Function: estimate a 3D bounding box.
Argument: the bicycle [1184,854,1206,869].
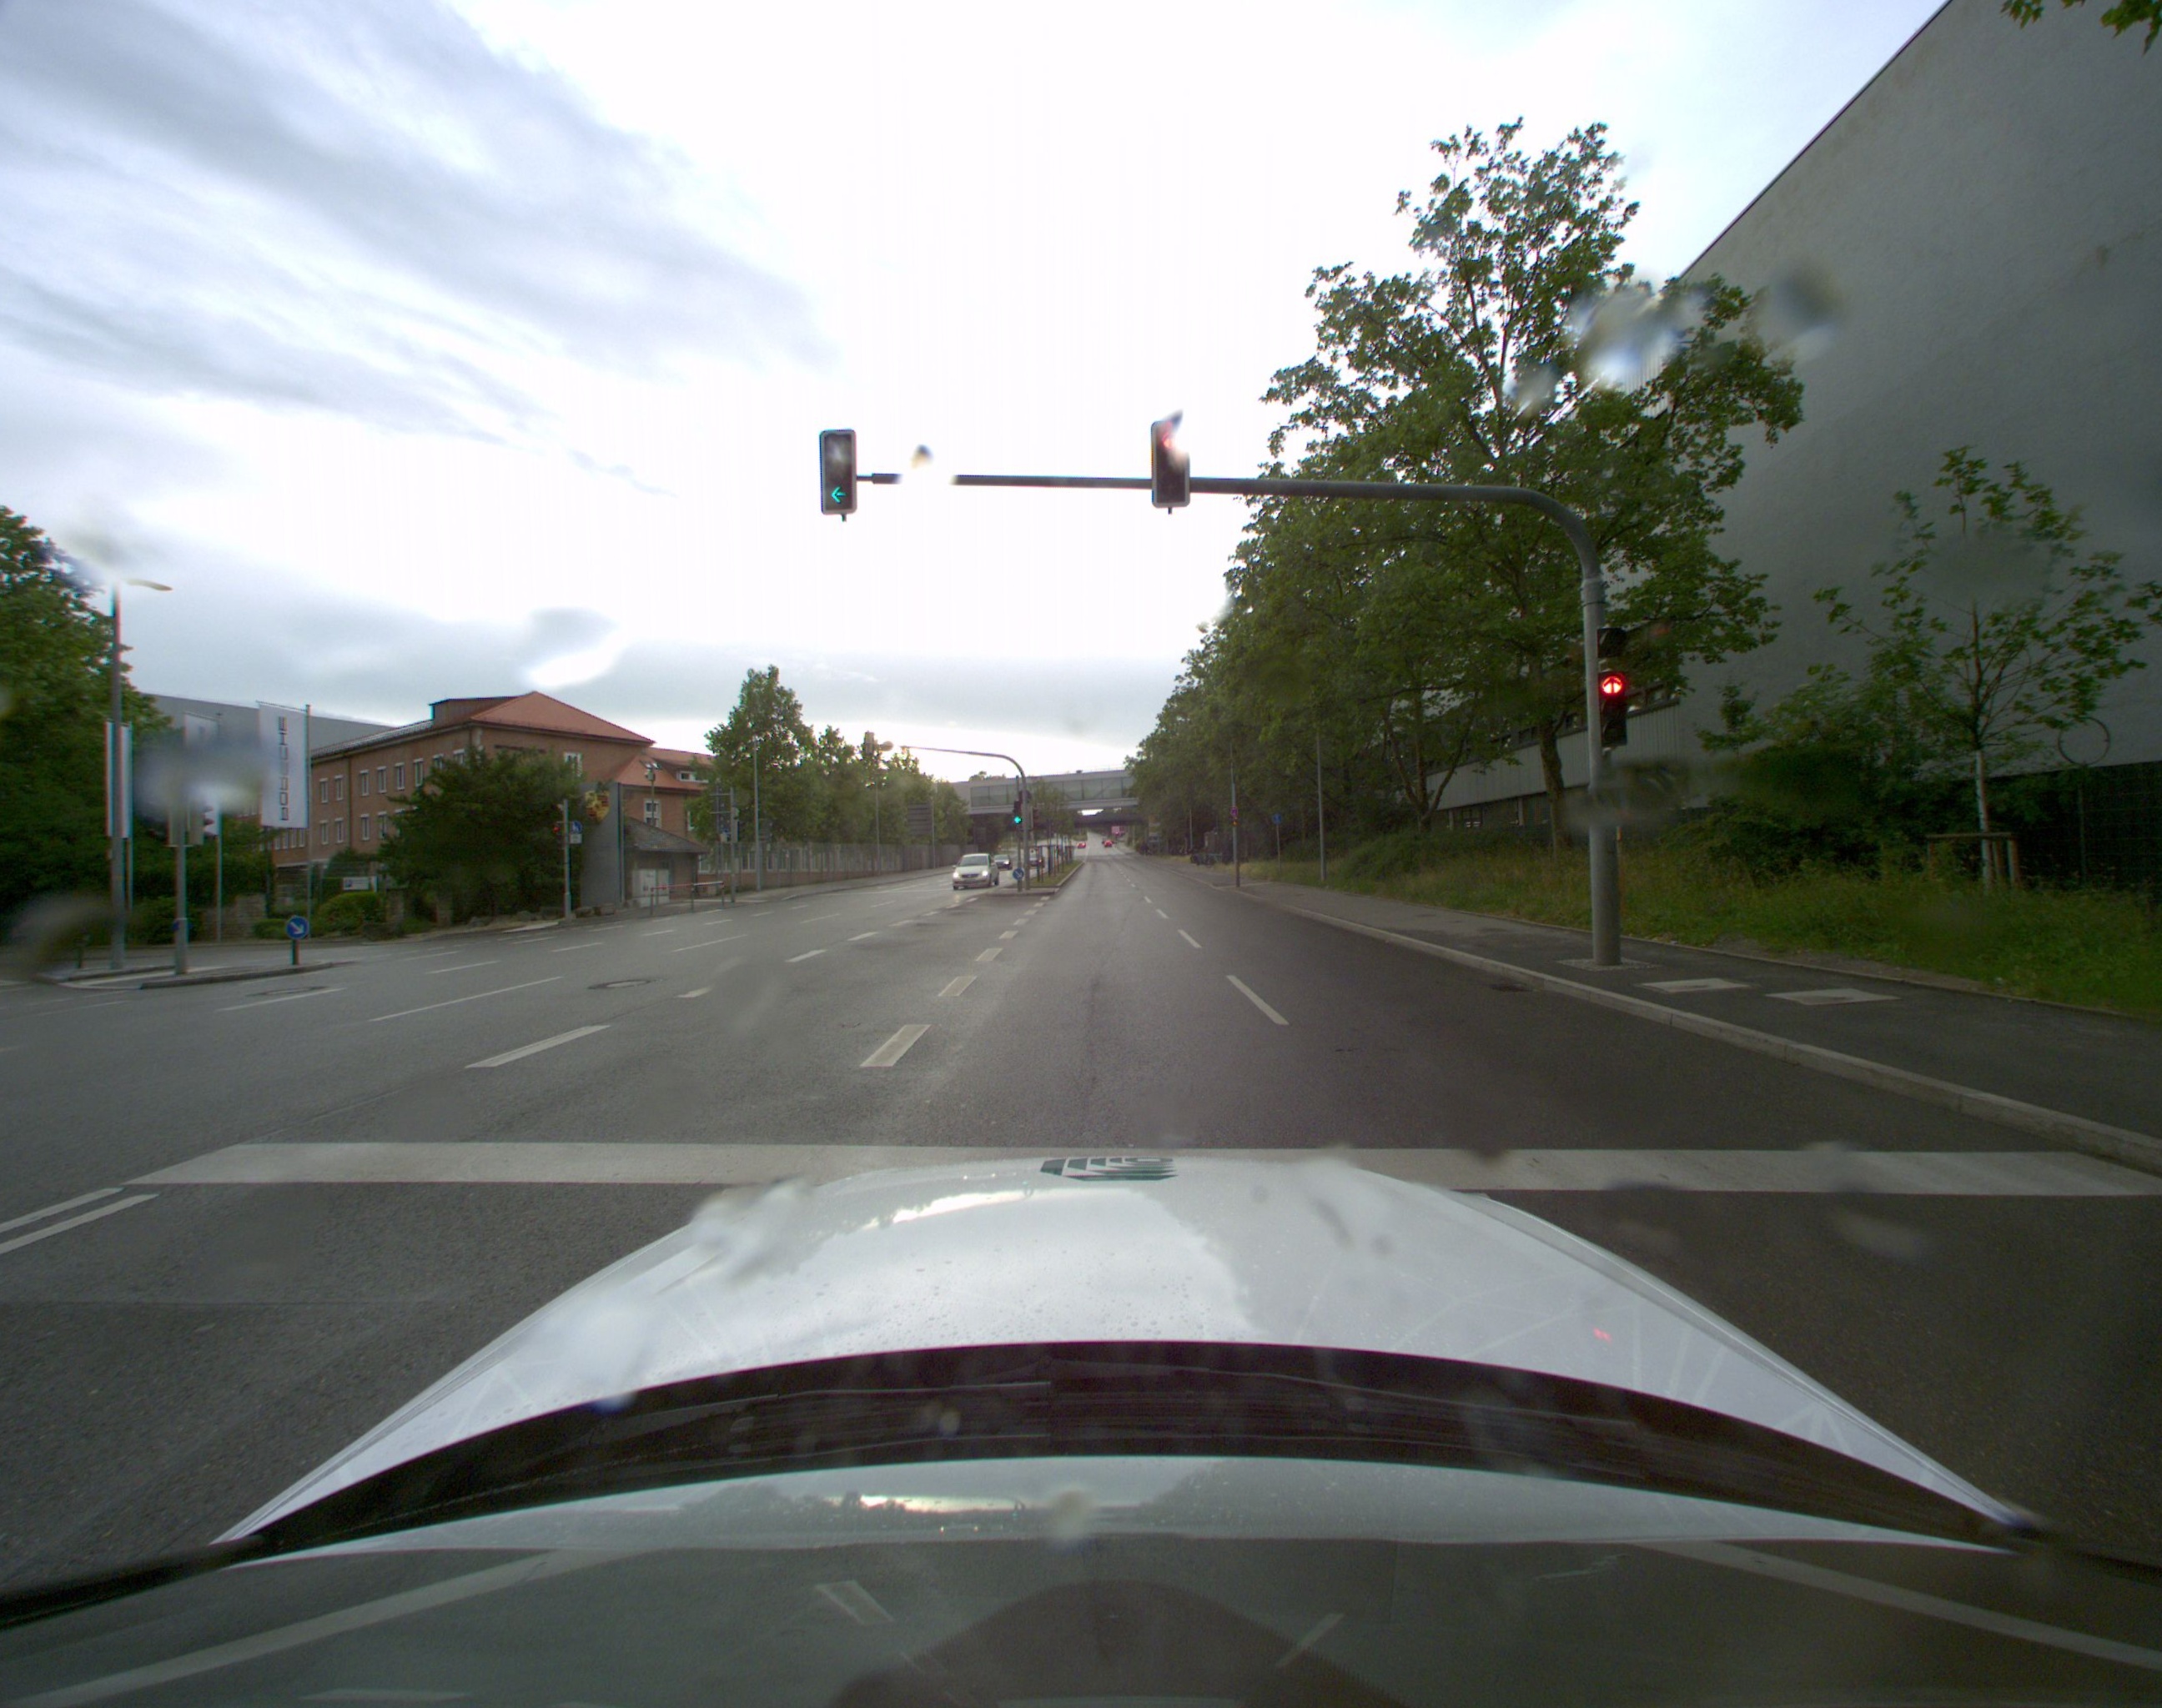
[{"bbox_3d":[10.619,0.682,75.796,1.955,1.328,0.654,0,-1,2],"label":"bicycle"}]

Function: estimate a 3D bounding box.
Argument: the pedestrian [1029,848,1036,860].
[{"bbox_3d":[-7.986,-0.034,133.699,0.868,2.004,0.856,-3,0,4],"label":"pedestrian"}]

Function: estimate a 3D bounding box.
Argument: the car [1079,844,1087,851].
[{"bbox_3d":[0.539,-1.766,212.142,1.877,1.762,3.970,0,-1,2],"label":"car"}]

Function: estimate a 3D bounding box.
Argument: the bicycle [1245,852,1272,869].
[{"bbox_3d":[13.781,0.513,63.093,1.982,1.328,0.576,0,-1,2],"label":"bicycle"}]

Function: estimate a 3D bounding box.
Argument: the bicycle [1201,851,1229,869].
[{"bbox_3d":[9.645,0.443,58.698,1.982,1.242,0.541,0,-1,2],"label":"bicycle"}]

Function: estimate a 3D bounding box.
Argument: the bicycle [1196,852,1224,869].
[{"bbox_3d":[9.616,0.476,60.781,1.982,1.242,0.541,0,-1,2],"label":"bicycle"}]

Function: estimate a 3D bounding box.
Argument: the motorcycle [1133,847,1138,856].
[{"bbox_3d":[9.674,-0.500,144.613,0.787,1.533,2.376,-3,0,0],"label":"motorcycle"}]

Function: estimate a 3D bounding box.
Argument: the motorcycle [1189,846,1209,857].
[{"bbox_3d":[14.459,-0.318,100.060,2.354,1.202,0.724,-3,0,9],"label":"motorcycle"}]

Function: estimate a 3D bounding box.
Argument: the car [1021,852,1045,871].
[{"bbox_3d":[-4.410,0.634,75.167,1.870,1.624,3.780,-2,0,2],"label":"car"}]

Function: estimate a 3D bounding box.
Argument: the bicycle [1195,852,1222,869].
[{"bbox_3d":[9.643,0.491,61.730,1.982,1.242,0.541,0,-1,2],"label":"bicycle"}]

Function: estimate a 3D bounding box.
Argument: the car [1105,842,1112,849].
[{"bbox_3d":[6.909,-2.152,203.106,1.868,1.497,4.070,0,-1,2],"label":"car"}]

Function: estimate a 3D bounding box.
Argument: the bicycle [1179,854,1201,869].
[{"bbox_3d":[9.925,0.653,74.309,1.955,1.328,0.654,0,-1,2],"label":"bicycle"}]

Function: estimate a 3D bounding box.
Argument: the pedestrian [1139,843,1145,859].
[{"bbox_3d":[8.147,-0.414,108.785,0.619,2.013,0.606,-3,0,2],"label":"pedestrian"}]

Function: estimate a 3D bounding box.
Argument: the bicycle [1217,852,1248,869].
[{"bbox_3d":[10.104,0.450,54.347,1.982,1.095,0.541,0,-1,2],"label":"bicycle"}]

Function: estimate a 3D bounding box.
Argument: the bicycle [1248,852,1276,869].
[{"bbox_3d":[13.723,0.491,61.781,1.982,1.328,0.576,0,-1,2],"label":"bicycle"}]

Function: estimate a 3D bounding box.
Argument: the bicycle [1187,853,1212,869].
[{"bbox_3d":[9.949,0.557,68.347,1.982,1.328,0.576,0,-1,2],"label":"bicycle"}]

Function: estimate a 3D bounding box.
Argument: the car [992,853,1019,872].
[{"bbox_3d":[-6.895,0.744,74.611,1.870,1.624,3.780,-2,0,2],"label":"car"}]

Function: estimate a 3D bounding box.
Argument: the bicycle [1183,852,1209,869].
[{"bbox_3d":[9.296,0.524,65.830,1.982,1.328,0.576,0,-1,2],"label":"bicycle"}]

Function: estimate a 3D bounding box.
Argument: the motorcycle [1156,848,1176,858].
[{"bbox_3d":[10.604,-0.131,101.493,2.354,1.202,0.724,-3,0,9],"label":"motorcycle"}]

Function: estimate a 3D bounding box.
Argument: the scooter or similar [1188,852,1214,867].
[{"bbox_3d":[9.375,0.452,63.868,1.982,1.138,0.541,0,-1,2],"label":"scooter or similar"}]

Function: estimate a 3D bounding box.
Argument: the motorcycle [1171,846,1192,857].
[{"bbox_3d":[11.975,-0.276,96.719,2.354,1.202,0.724,-3,0,9],"label":"motorcycle"}]

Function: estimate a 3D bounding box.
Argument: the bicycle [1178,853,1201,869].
[{"bbox_3d":[9.695,0.624,72.595,1.955,1.328,0.654,0,-1,2],"label":"bicycle"}]

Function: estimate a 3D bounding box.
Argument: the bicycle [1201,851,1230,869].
[{"bbox_3d":[9.607,0.436,58.010,1.982,1.233,0.541,0,-1,2],"label":"bicycle"}]

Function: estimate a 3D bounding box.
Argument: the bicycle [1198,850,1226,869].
[{"bbox_3d":[9.689,0.399,60.088,1.982,1.340,0.541,0,-1,2],"label":"bicycle"}]

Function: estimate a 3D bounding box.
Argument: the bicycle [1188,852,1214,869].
[{"bbox_3d":[9.592,0.513,65.013,1.982,1.328,0.576,0,-1,2],"label":"bicycle"}]

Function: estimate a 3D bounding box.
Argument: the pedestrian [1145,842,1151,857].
[{"bbox_3d":[8.934,-0.578,108.644,0.619,2.013,0.606,-3,0,2],"label":"pedestrian"}]

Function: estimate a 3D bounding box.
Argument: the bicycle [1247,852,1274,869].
[{"bbox_3d":[13.746,0.502,62.446,1.982,1.328,0.576,0,-1,2],"label":"bicycle"}]

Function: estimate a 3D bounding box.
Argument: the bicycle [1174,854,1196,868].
[{"bbox_3d":[9.395,0.636,73.517,1.955,1.328,0.654,0,-1,2],"label":"bicycle"}]

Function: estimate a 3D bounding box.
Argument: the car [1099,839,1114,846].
[{"bbox_3d":[7.428,-3.322,236.498,4.495,1.762,1.905,0,-1,0],"label":"car"}]

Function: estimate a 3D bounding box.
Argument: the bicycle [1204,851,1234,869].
[{"bbox_3d":[9.471,0.408,55.823,1.982,1.216,0.541,0,-1,2],"label":"bicycle"}]

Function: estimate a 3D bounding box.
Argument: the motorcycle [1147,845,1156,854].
[{"bbox_3d":[10.486,-0.672,121.707,0.789,1.311,2.371,-3,0,-7],"label":"motorcycle"}]

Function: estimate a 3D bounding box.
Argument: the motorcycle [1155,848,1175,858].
[{"bbox_3d":[10.311,-0.129,99.726,2.354,1.202,0.724,-3,0,9],"label":"motorcycle"}]

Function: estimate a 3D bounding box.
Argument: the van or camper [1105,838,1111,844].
[{"bbox_3d":[8.652,-4.247,263.108,1.792,1.813,3.764,0,1,-2],"label":"van or camper"}]

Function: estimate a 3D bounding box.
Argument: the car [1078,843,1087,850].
[{"bbox_3d":[0.392,-1.852,206.985,1.986,1.762,4.002,0,-1,2],"label":"car"}]

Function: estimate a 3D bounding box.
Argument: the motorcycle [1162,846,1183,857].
[{"bbox_3d":[10.723,-0.270,95.272,2.354,1.202,0.724,-3,0,9],"label":"motorcycle"}]

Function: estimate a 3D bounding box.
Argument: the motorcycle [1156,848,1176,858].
[{"bbox_3d":[10.454,-0.106,100.581,2.354,1.202,0.724,-3,0,9],"label":"motorcycle"}]

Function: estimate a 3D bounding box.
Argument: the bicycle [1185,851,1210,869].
[{"bbox_3d":[9.620,0.490,67.501,1.982,1.430,0.723,0,-1,2],"label":"bicycle"}]

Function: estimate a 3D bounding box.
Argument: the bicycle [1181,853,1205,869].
[{"bbox_3d":[9.762,0.598,70.991,1.955,1.328,0.654,0,-1,2],"label":"bicycle"}]

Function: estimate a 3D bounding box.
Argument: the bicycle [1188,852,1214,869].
[{"bbox_3d":[9.291,0.511,63.113,1.982,1.242,0.541,0,-1,2],"label":"bicycle"}]

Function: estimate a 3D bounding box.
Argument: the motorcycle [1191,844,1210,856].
[{"bbox_3d":[15.712,-0.484,106.878,2.354,1.476,0.724,-3,0,9],"label":"motorcycle"}]

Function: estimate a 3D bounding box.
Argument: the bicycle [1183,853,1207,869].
[{"bbox_3d":[9.645,0.578,69.065,1.982,1.328,0.576,0,-1,2],"label":"bicycle"}]

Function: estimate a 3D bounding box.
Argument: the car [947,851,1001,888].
[{"bbox_3d":[-5.002,0.695,38.583,1.870,1.624,3.780,-2,0,2],"label":"car"}]

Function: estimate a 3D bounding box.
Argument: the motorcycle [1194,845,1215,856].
[{"bbox_3d":[14.970,-0.384,98.749,2.354,1.202,0.724,-3,0,9],"label":"motorcycle"}]

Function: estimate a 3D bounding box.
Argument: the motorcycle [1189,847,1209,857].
[{"bbox_3d":[14.658,-0.226,100.995,2.354,1.202,0.724,-3,0,9],"label":"motorcycle"}]

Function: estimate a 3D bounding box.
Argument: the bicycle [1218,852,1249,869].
[{"bbox_3d":[10.084,0.440,53.779,1.982,1.095,0.541,0,-1,2],"label":"bicycle"}]

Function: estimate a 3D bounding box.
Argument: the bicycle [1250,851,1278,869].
[{"bbox_3d":[13.717,0.479,61.017,1.982,1.328,0.576,0,-1,2],"label":"bicycle"}]
